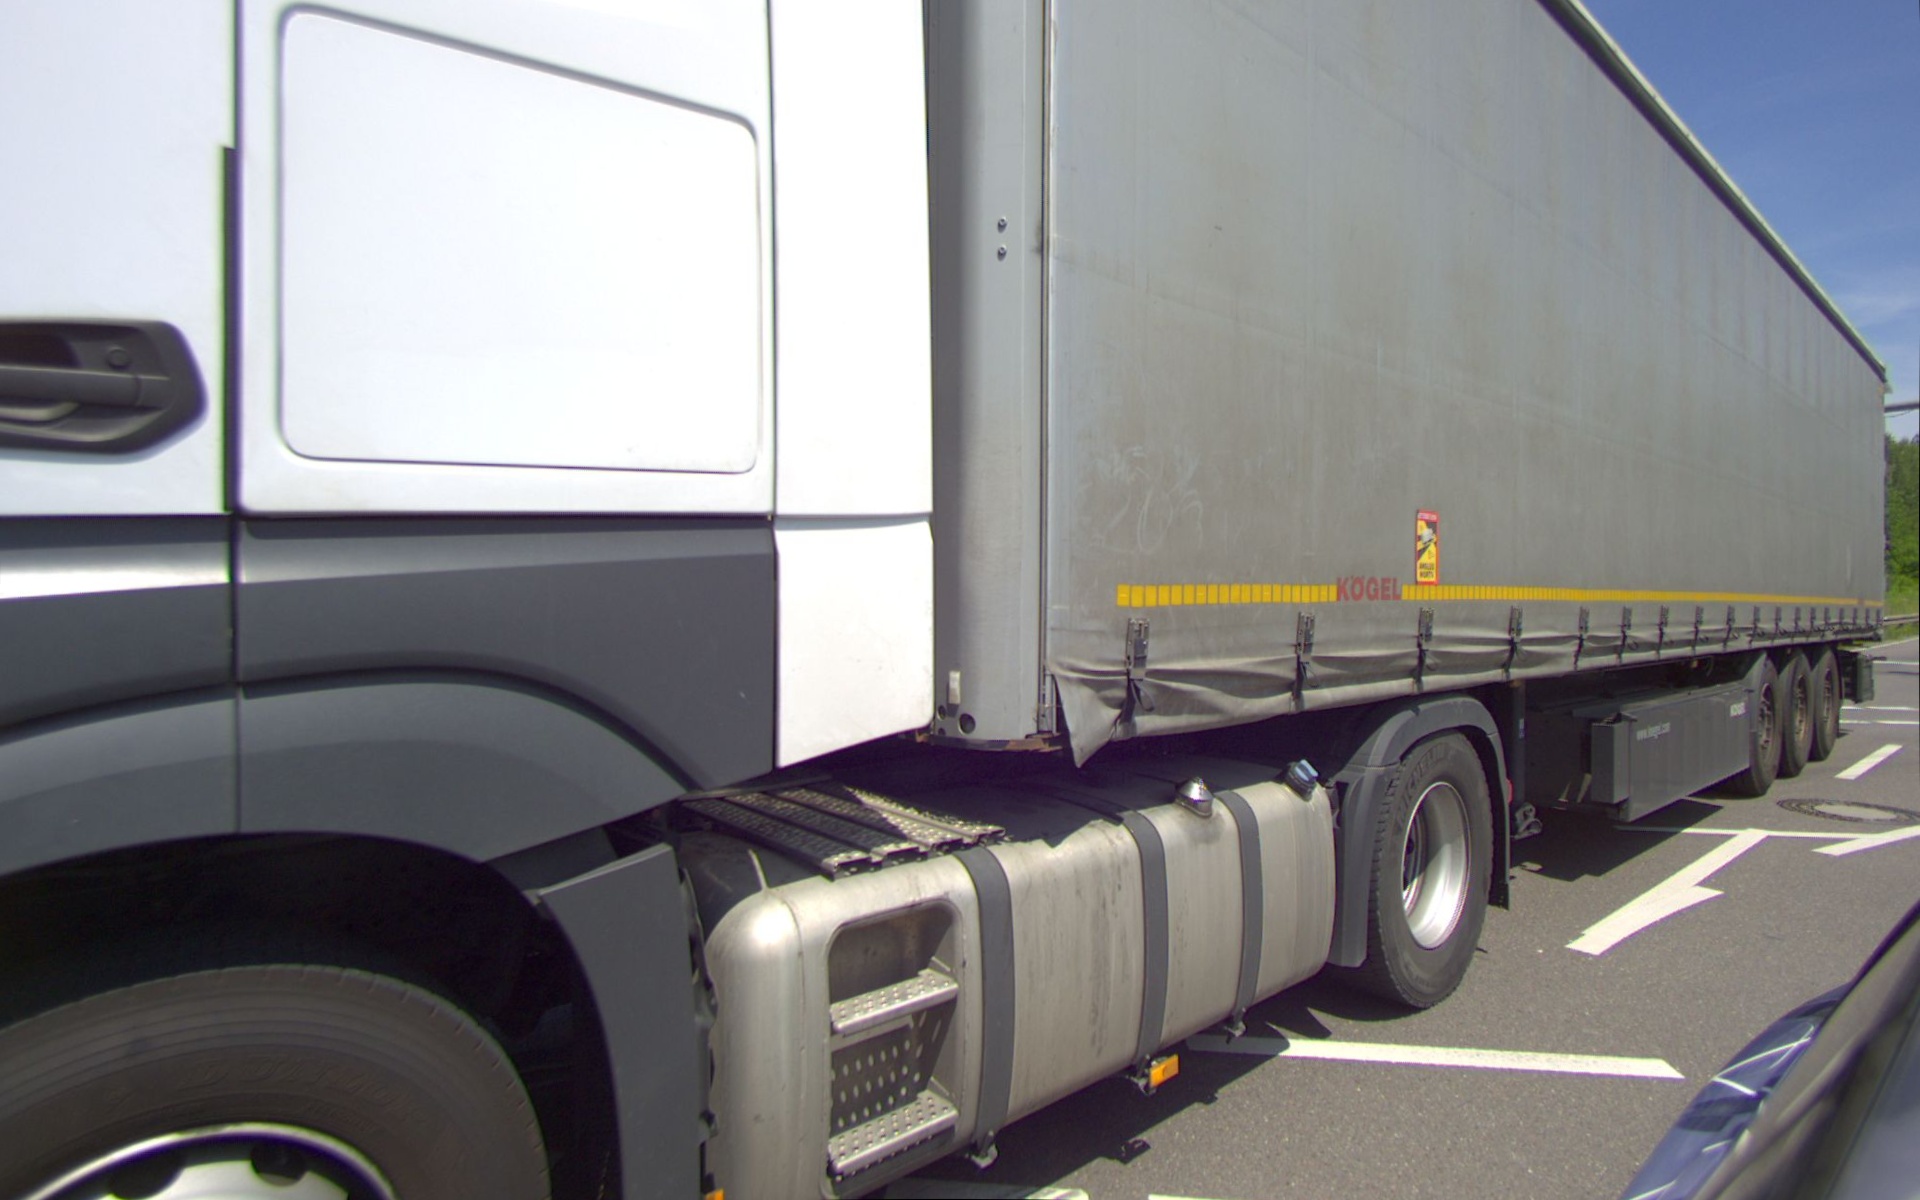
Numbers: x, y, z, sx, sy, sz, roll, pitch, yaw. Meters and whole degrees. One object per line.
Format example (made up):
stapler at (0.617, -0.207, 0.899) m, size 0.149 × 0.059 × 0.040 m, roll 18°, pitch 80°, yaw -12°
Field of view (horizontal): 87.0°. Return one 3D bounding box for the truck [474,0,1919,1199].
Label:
truck at (4.255, -0.746, 7.511) m, size 13.876 × 4.058 × 2.980 m, roll 0°, pitch 3°, yaw -41°

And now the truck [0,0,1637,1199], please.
truck at (-0.612, -0.669, 3.269) m, size 6.216 × 4.058 × 2.980 m, roll 0°, pitch 3°, yaw -41°
